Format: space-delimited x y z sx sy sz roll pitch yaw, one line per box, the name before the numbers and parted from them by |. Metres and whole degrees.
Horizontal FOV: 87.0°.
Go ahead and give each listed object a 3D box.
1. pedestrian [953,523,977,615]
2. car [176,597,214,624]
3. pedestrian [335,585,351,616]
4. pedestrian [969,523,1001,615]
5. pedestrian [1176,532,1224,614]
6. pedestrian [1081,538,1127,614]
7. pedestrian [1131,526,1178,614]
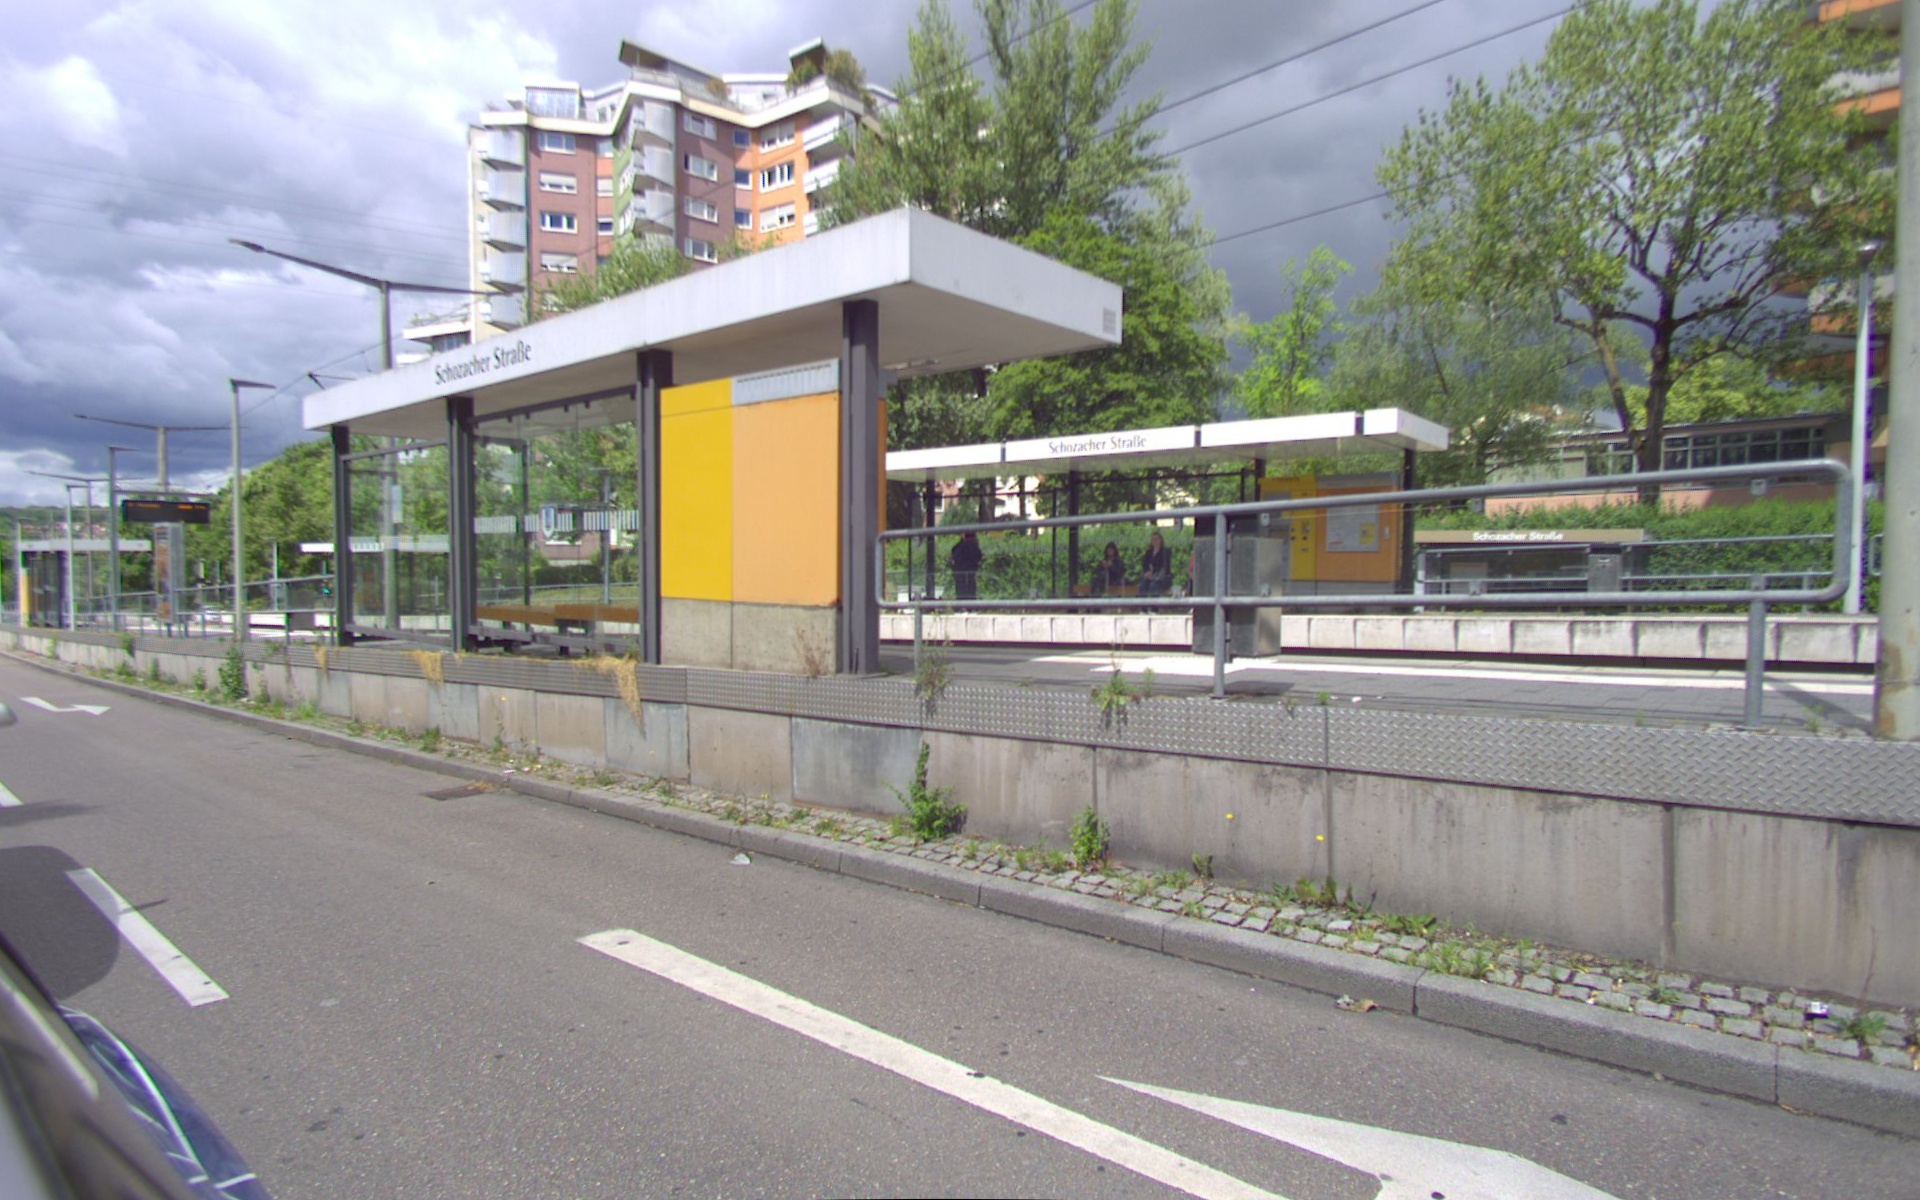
pedestrian | 0.084 -0.582 19.133 0.421 1.726 0.353 -1 0 -1
car | -60.459 0.826 80.000 4.000 2.029 1.714 -1 0 43
pedestrian | -25.825 0.013 42.373 0.528 1.287 0.563 -1 0 -34
pedestrian | 0.469 -0.587 19.173 0.544 1.726 0.386 -1 0 -2
pedestrian | 3.830 -0.421 16.136 0.463 1.287 0.704 -1 0 40
pedestrian | 2.491 -0.404 17.489 0.463 1.287 0.704 -1 0 40
pedestrian | 3.206 -0.483 16.689 0.463 1.428 0.704 -1 0 40
